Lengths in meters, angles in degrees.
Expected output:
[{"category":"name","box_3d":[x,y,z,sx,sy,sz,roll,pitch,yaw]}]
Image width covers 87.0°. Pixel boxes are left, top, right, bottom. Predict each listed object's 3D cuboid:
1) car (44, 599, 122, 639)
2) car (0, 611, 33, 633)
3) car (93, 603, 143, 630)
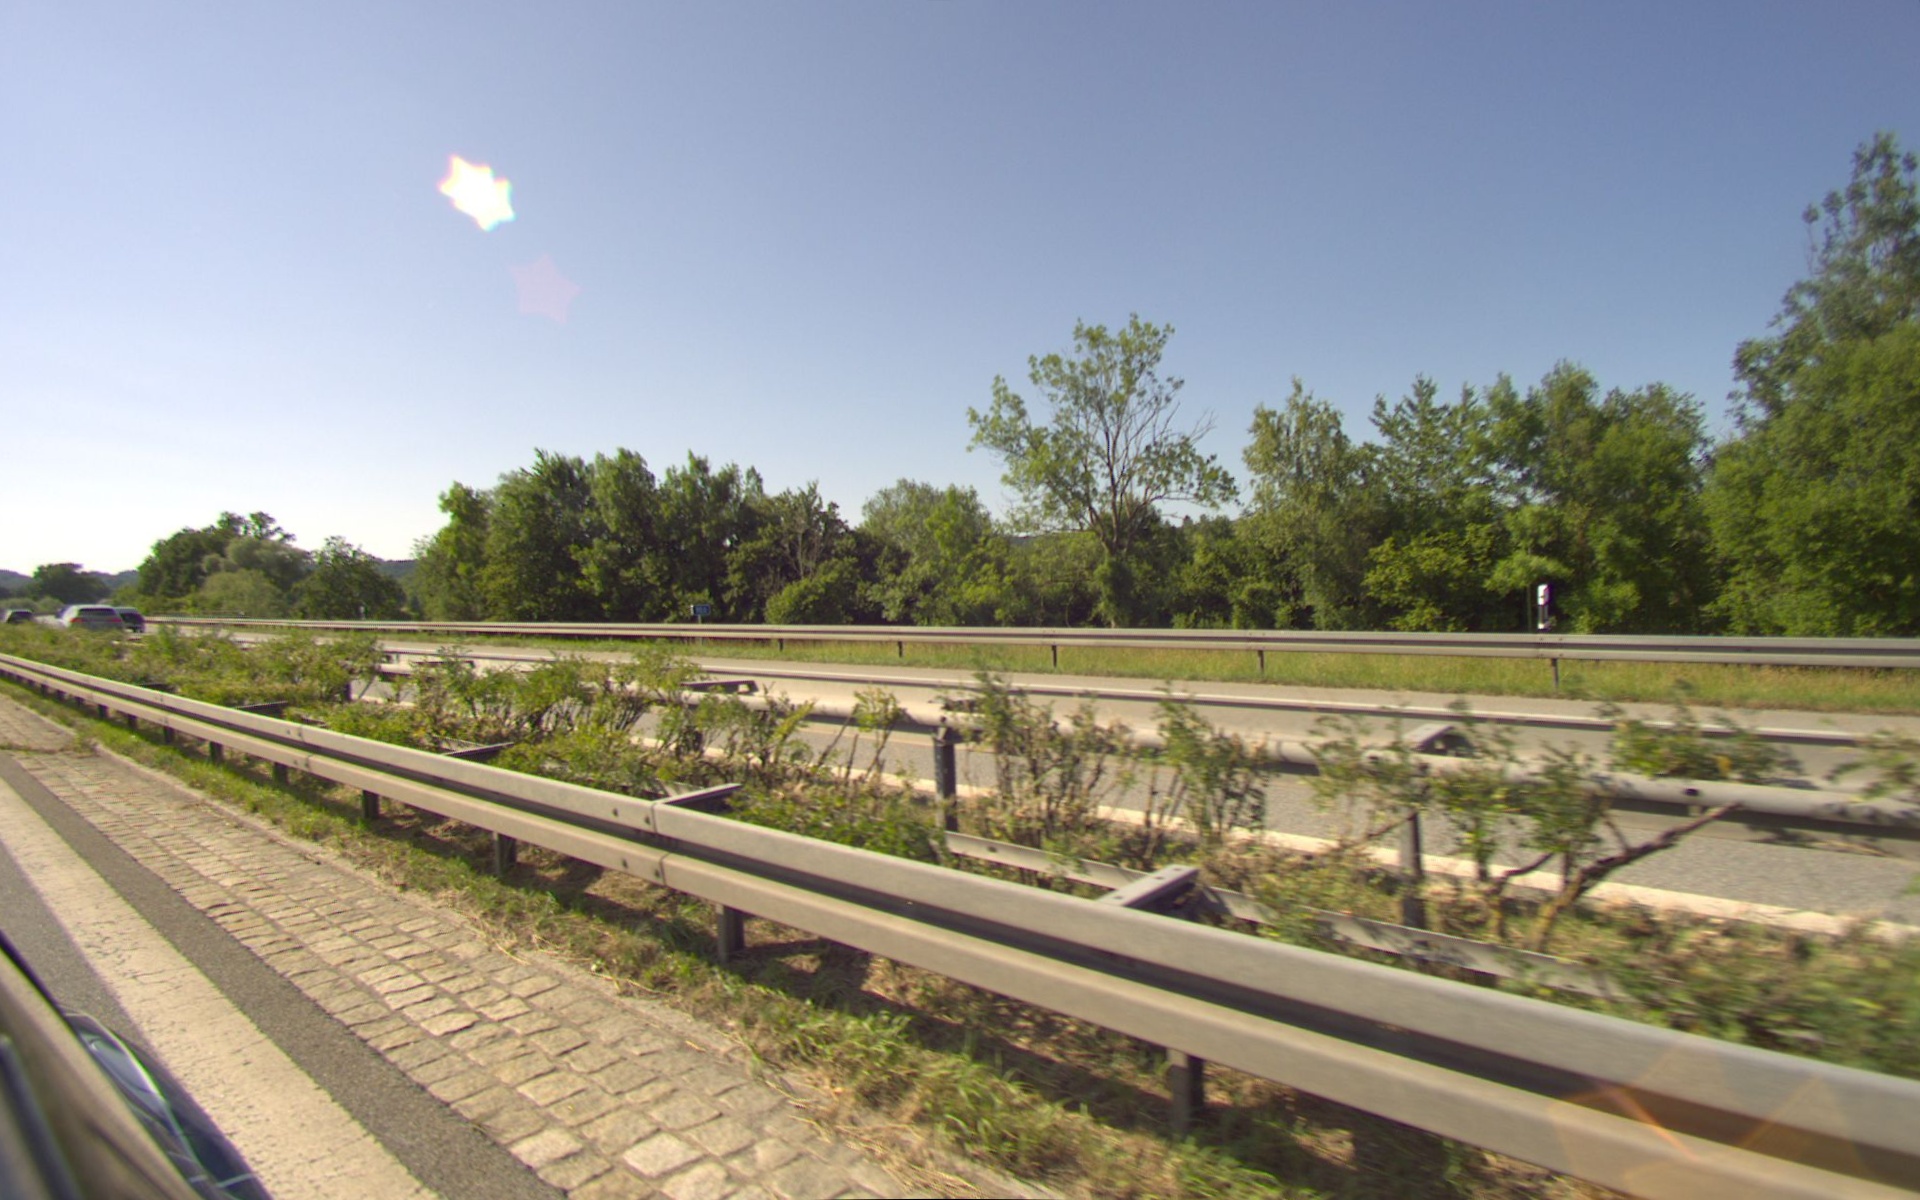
[{"category":"car","box_3d":[-35.877,0.758,41.376,4.793,1.516,1.910,-1,-1,43]},{"category":"car","box_3d":[-67.491,1.572,72.235,1.832,1.493,4.002,0,0,-45]},{"category":"car","box_3d":[-52.966,1.017,63.641,4.493,1.646,1.833,-1,0,43]}]
